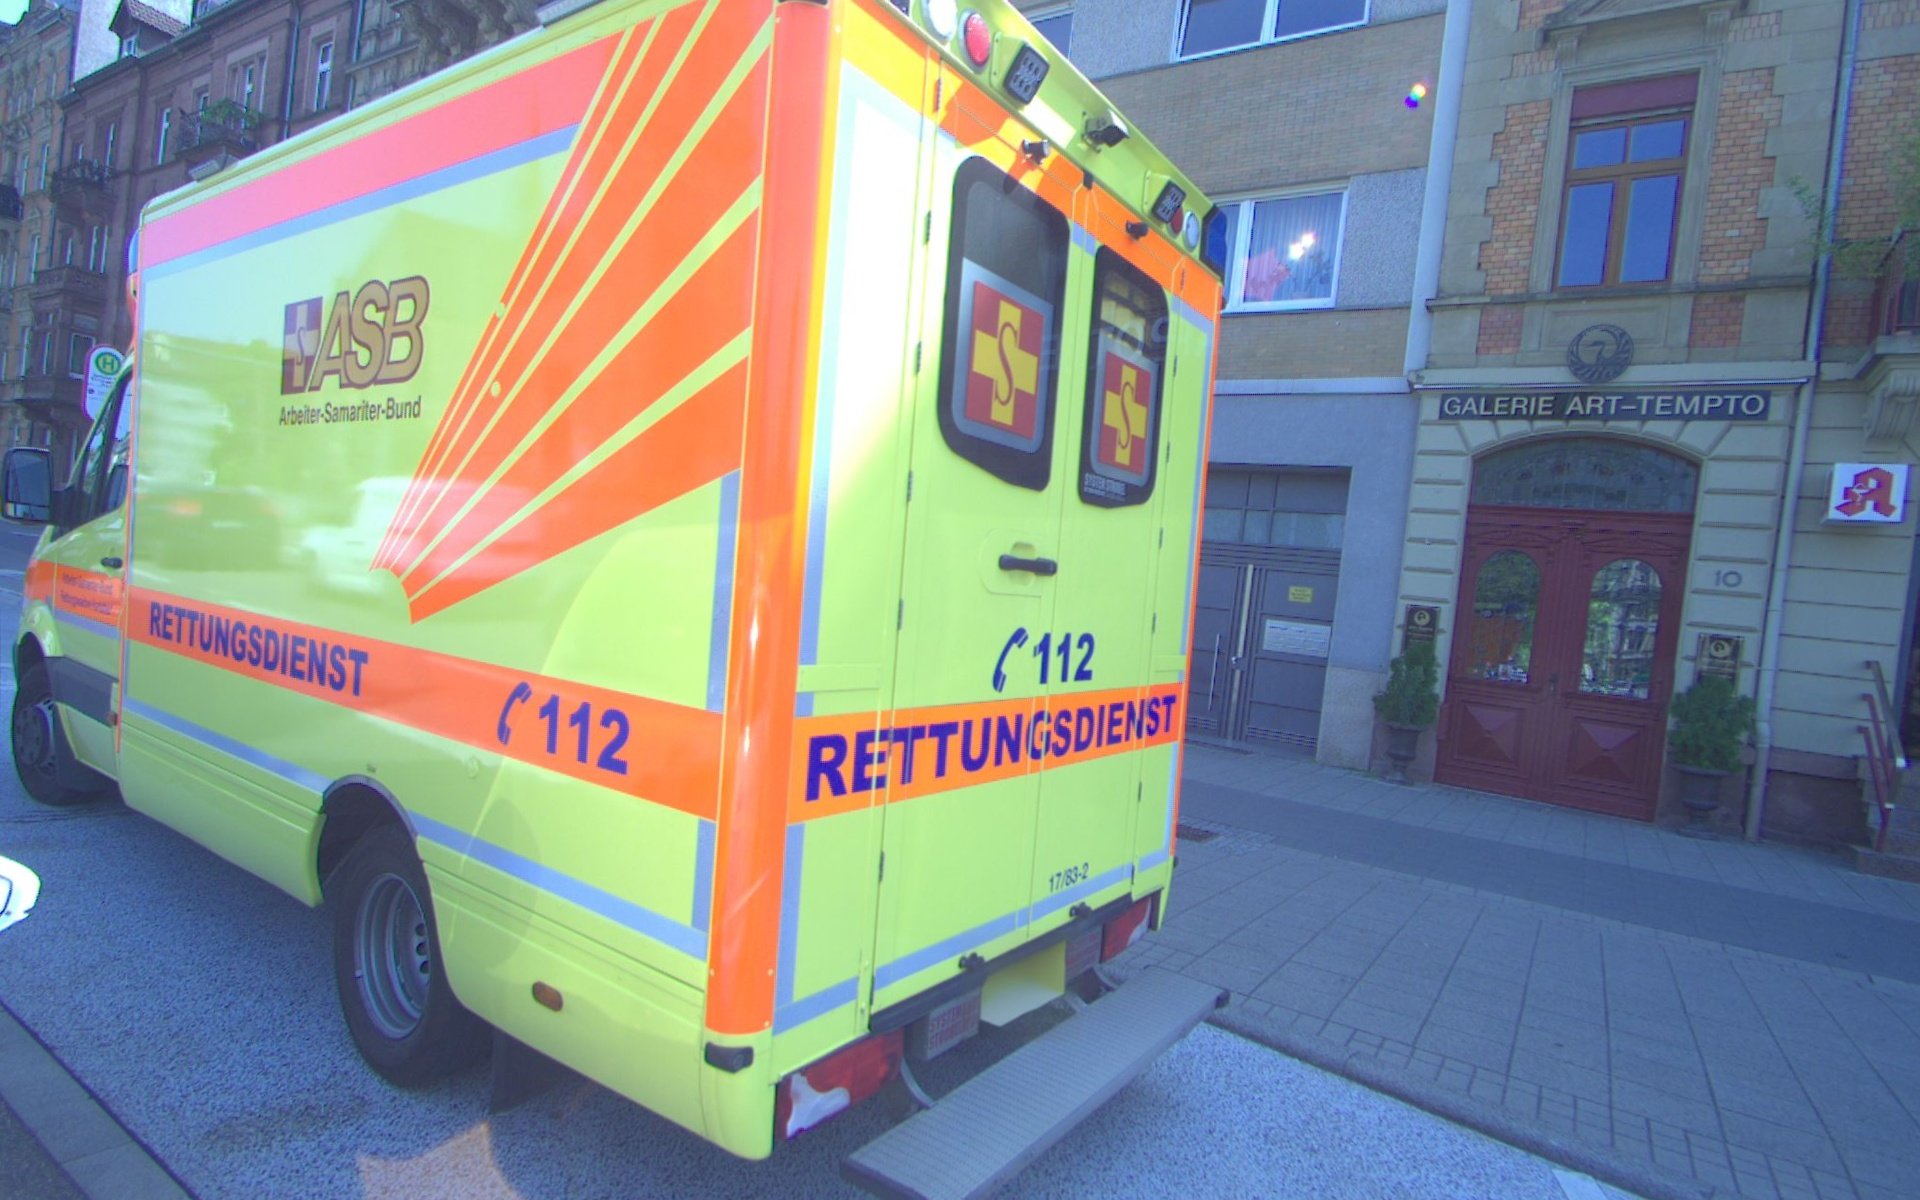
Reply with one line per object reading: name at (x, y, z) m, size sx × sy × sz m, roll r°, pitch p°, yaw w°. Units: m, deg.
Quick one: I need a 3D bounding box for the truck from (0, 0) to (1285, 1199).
truck at (-2.180, -0.250, 4.421) m, size 6.240 × 2.807 × 2.326 m, roll 7°, pitch 2°, yaw 36°

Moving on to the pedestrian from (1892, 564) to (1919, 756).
pedestrian at (9.614, 0.589, 9.667) m, size 0.651 × 1.886 × 0.737 m, roll 7°, pitch 1°, yaw 32°

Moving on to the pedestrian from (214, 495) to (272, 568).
pedestrian at (-19.185, -1.822, 26.943) m, size 0.729 × 1.800 × 0.870 m, roll 7°, pitch 1°, yaw 5°
